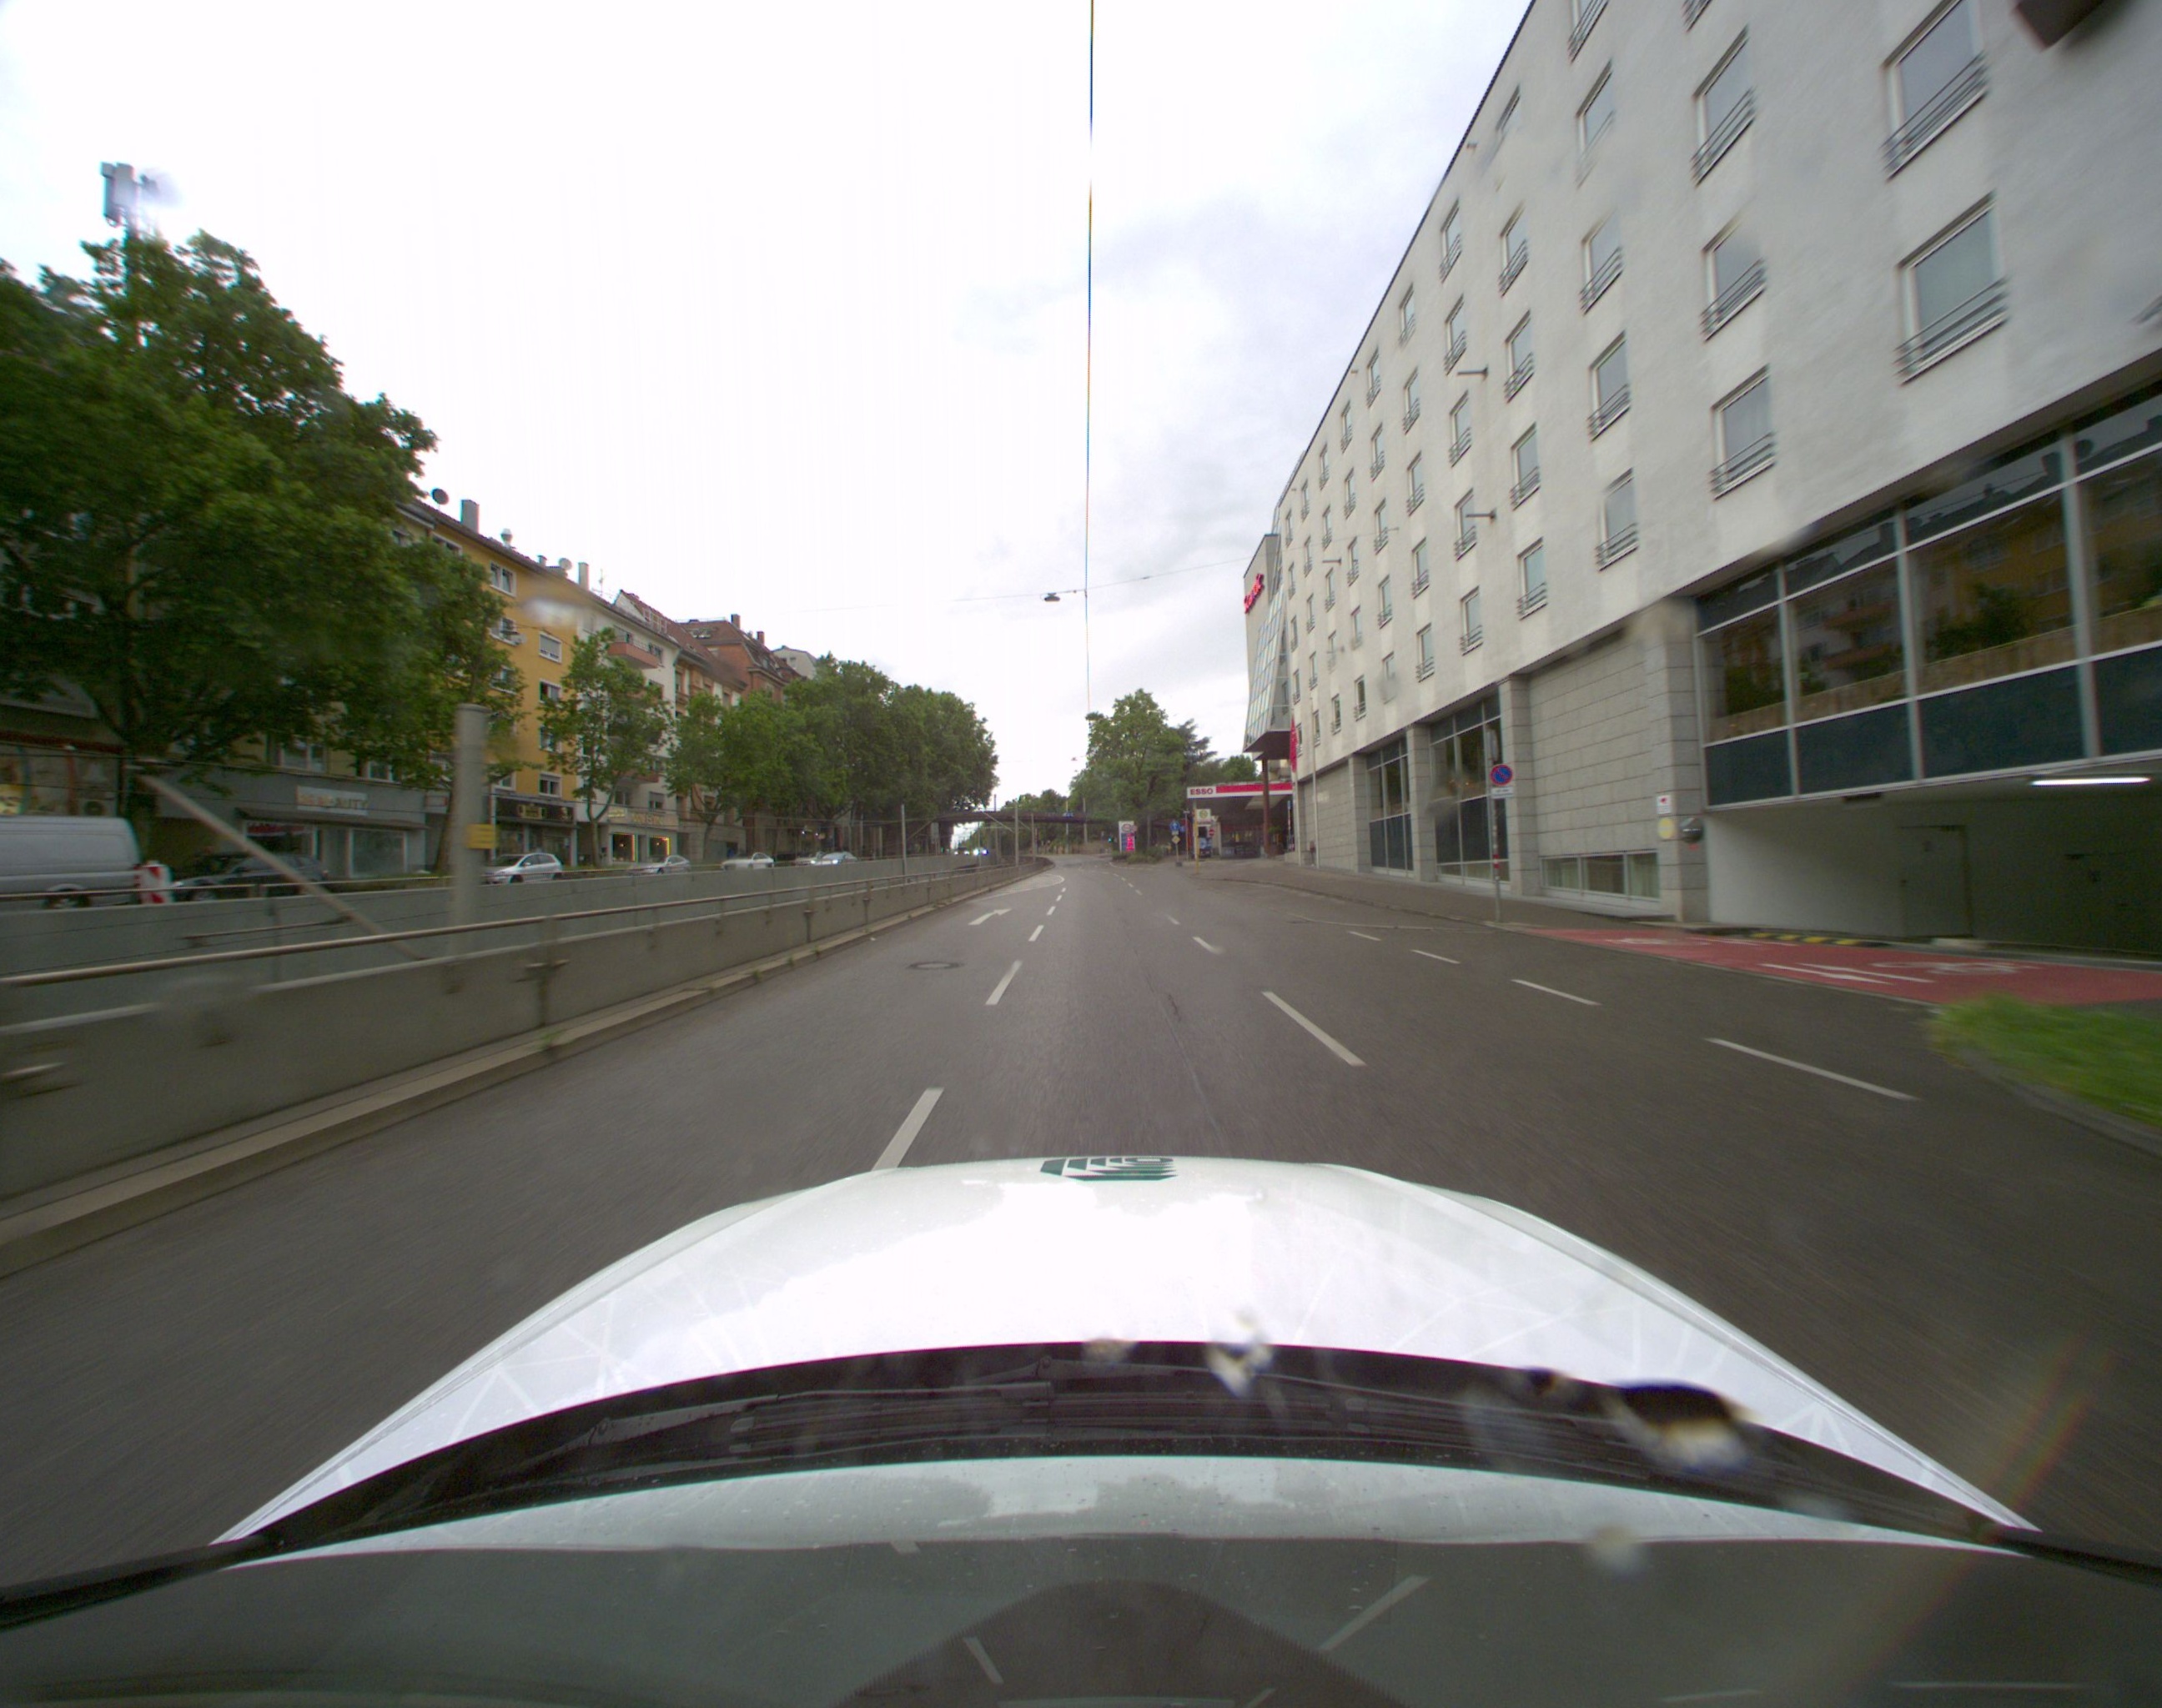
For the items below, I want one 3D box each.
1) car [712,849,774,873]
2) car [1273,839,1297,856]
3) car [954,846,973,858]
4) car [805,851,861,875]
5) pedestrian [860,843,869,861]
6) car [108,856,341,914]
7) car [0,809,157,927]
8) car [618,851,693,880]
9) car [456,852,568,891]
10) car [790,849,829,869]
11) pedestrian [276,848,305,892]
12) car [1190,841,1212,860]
[{"bbox_3d":[-23.254,0.457,56.246,1.919,1.601,5.202,0,0,2],"label":"car"},{"bbox_3d":[19.346,-0.622,77.216,1.784,1.510,4.008,0,-1,8],"label":"car"},{"bbox_3d":[-18.184,-0.286,125.992,1.948,1.852,4.972,0,0,3],"label":"car"},{"bbox_3d":[-16.707,0.552,55.107,2.018,1.510,4.886,0,0,3],"label":"car"},{"bbox_3d":[-23.983,-0.211,90.204,0.666,2.014,0.936,0,-1,4],"label":"pedestrian"},{"bbox_3d":[-24.915,0.831,24.010,1.787,1.510,4.675,0,0,2],"label":"car"},{"bbox_3d":[-25.732,0.325,18.026,2.443,2.662,6.936,0,0,2],"label":"car"},{"bbox_3d":[-23.745,0.611,45.642,1.787,1.510,4.211,0,0,3],"label":"car"},{"bbox_3d":[-24.763,0.716,35.620,1.787,1.571,4.211,0,0,3],"label":"car"},{"bbox_3d":[-22.550,0.363,67.794,1.787,1.611,4.114,0,0,2],"label":"car"},{"bbox_3d":[-32.150,0.648,33.119,0.520,1.748,0.623,2,0,9],"label":"pedestrian"},{"bbox_3d":[11.010,-0.310,74.495,1.761,1.623,3.877,-4,-1,10],"label":"car"}]
